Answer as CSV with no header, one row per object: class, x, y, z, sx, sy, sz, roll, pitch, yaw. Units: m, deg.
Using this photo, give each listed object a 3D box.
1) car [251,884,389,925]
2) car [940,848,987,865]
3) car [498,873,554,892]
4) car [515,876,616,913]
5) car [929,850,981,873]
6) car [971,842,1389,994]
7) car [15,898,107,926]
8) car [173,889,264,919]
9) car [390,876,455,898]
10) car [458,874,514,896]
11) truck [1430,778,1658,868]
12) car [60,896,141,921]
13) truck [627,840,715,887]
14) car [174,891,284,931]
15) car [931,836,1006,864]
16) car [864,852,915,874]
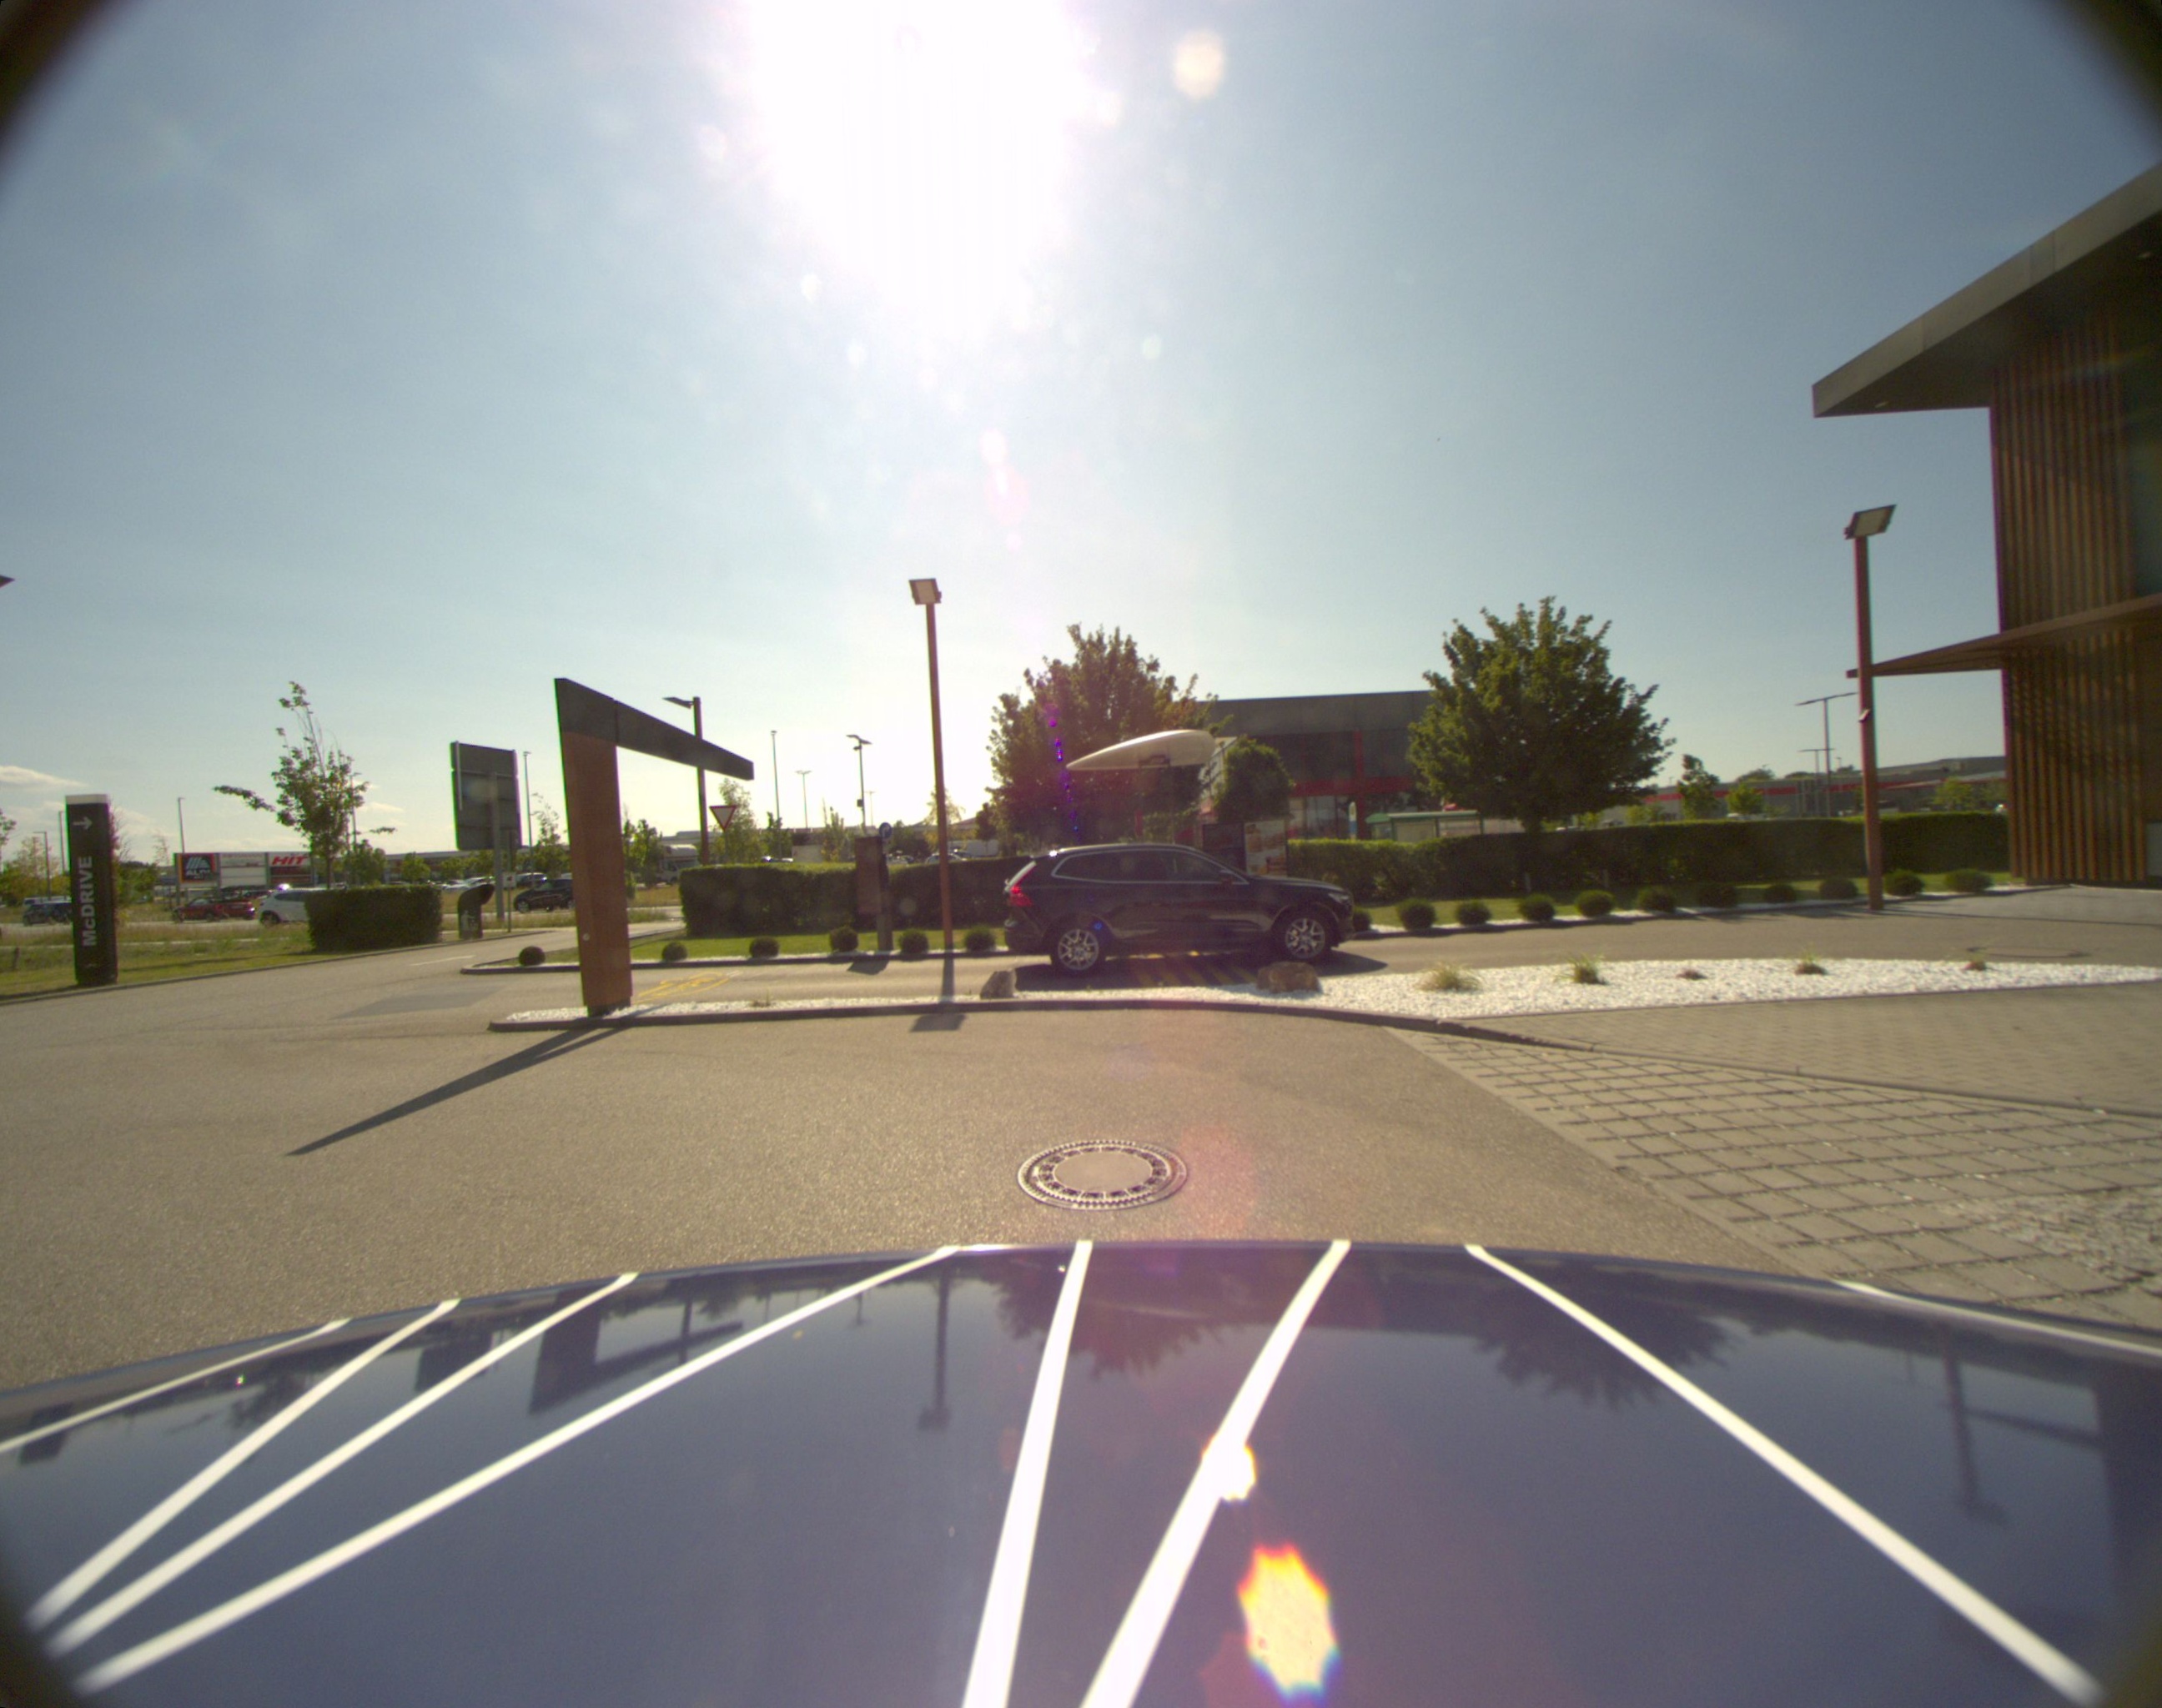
car,-30.869,2.042,30.867,4.316,1.414,1.736,-2,0,10
car,-10.433,0.198,67.546,3.905,1.334,1.665,-3,0,-1
car,-44.220,2.263,60.566,1.537,1.376,3.226,-2,0,27
car,-25.268,1.978,37.326,3.771,1.551,1.802,-2,0,6
car,-10.295,0.586,62.479,3.998,1.718,1.893,-3,0,-4
car,1.201,0.773,10.229,5.062,1.620,1.924,-3,0,-2
car,-60.517,3.432,45.093,3.993,1.455,1.762,-2,0,13
car,-47.131,2.732,41.545,3.570,1.436,1.636,-2,0,11
car,-59.535,2.969,68.713,1.842,1.761,4.007,-2,0,31
car,-49.194,2.557,62.883,1.537,1.547,3.226,-2,0,27
truck,22.438,-1.447,37.218,9.124,3.844,3.210,-2,0,0
car,-65.950,3.636,51.122,3.993,1.455,1.762,-2,0,13
truck,-31.349,0.758,57.977,7.545,3.332,2.427,-2,1,33
car,-39.794,2.647,35.527,3.447,1.586,1.565,-2,0,4
car,-10.404,-0.351,70.565,6.567,2.231,2.300,-3,0,-1
car,-17.023,0.804,67.854,1.889,1.718,4.265,-2,0,31
